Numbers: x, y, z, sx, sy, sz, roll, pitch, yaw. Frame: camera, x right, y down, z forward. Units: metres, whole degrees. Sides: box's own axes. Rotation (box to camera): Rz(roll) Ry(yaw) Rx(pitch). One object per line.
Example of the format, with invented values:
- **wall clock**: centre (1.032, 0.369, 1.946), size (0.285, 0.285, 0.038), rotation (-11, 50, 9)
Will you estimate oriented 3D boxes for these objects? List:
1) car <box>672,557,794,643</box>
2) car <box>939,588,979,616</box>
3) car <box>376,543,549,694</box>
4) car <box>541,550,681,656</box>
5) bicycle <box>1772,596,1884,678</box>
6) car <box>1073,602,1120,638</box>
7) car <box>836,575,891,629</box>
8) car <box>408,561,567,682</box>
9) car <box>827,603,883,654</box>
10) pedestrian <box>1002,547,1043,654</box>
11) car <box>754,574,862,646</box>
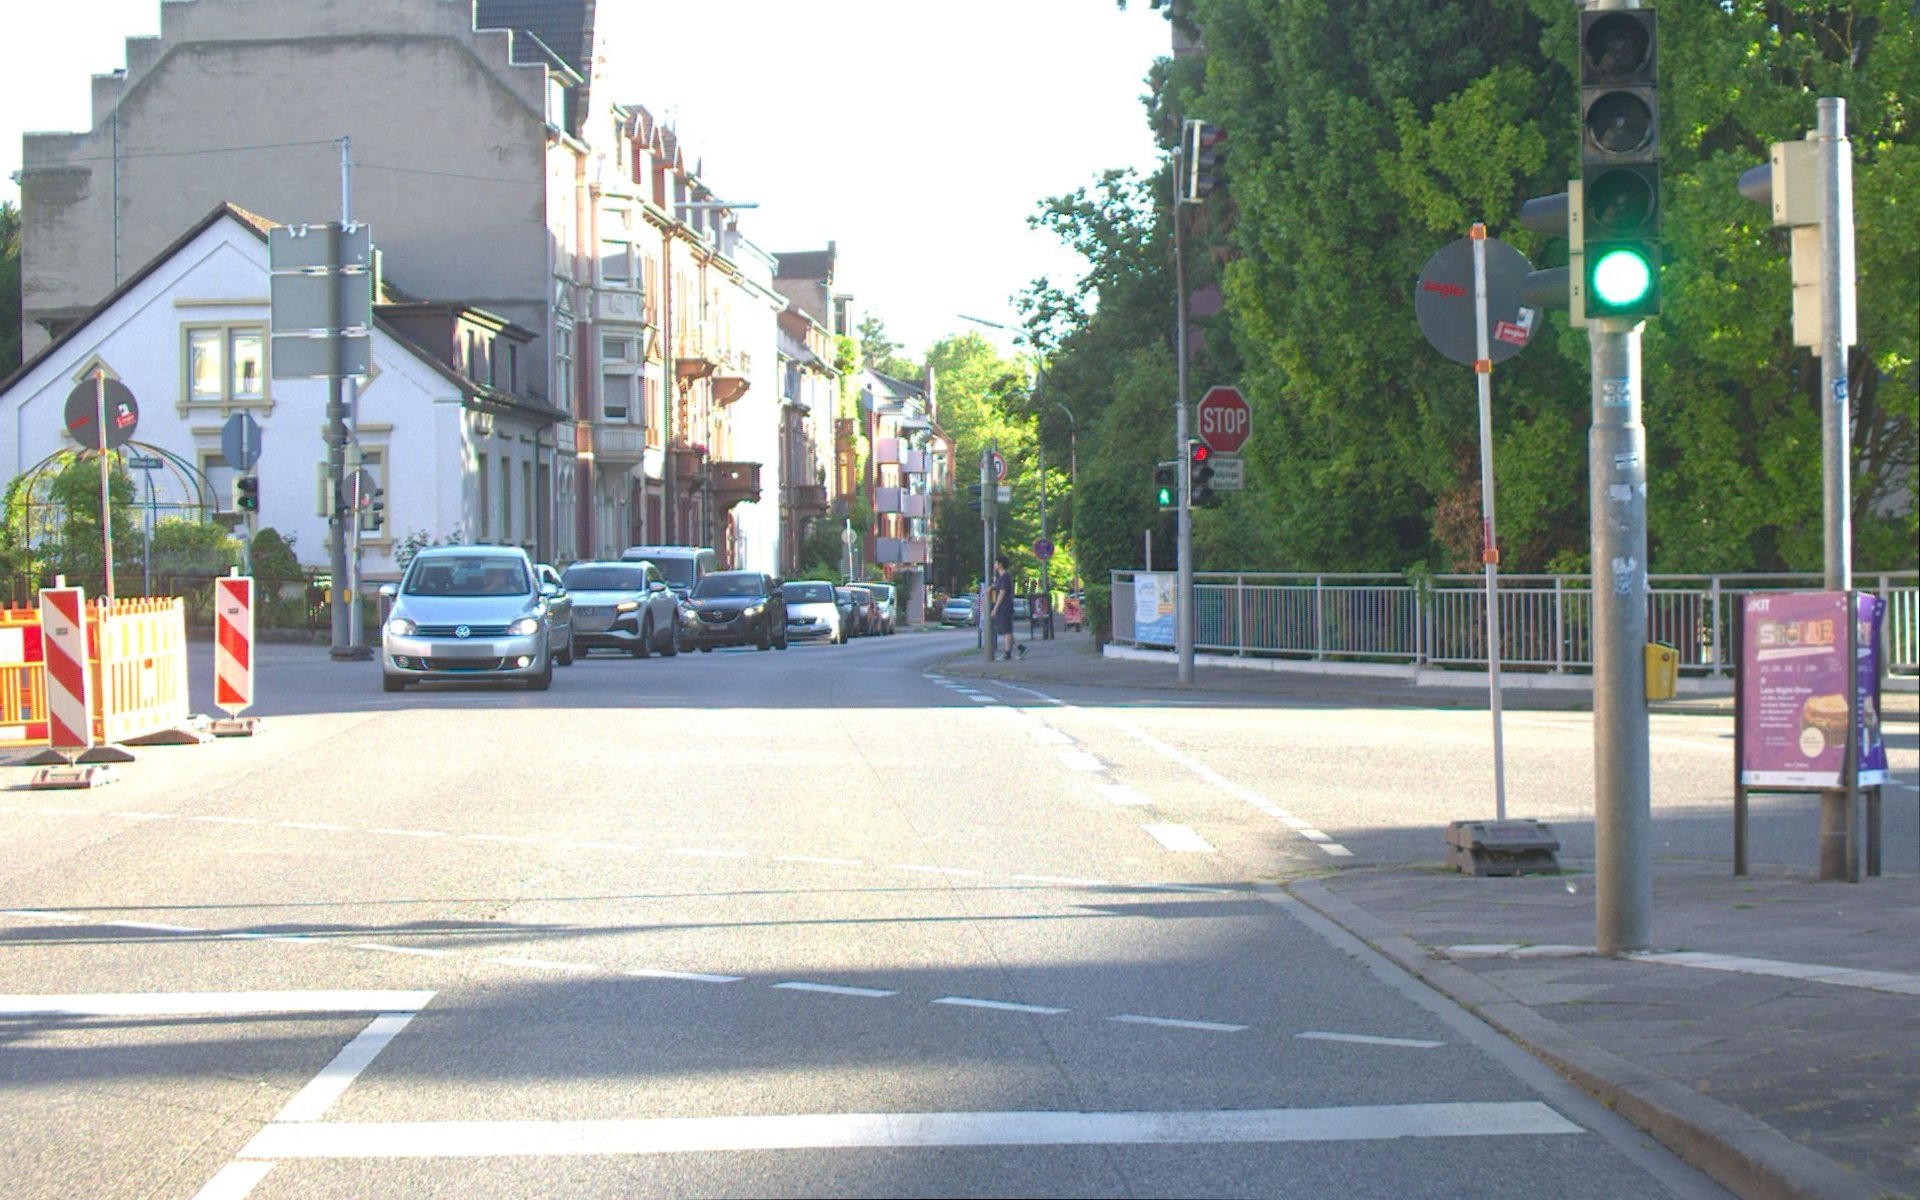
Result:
- **car**: centre (-4.623, -0.033, 70.613), size (1.953, 1.643, 4.283), rotation (1, 1, 4)
- **car**: centre (-0.044, 0.106, 193.633), size (1.994, 1.486, 4.470), rotation (-1, 1, 3)
- **car**: centre (-5.492, 0.166, 37.860), size (1.775, 1.537, 4.001), rotation (0, 1, -9)
- **car**: centre (-5.772, 0.007, 57.306), size (1.775, 1.643, 4.534), rotation (1, 1, 1)
- **bicycle**: centre (9.785, 0.412, 38.741), size (1.284, 0.900, 0.410), rotation (0, 1, -30)
- **car**: centre (6.394, 0.932, 160.618), size (1.994, 1.512, 4.000), rotation (-1, 1, 5)
- **car**: centre (-3.698, 0.060, 132.580), size (1.793, 2.003, 4.697), rotation (1, 0, 2)
- **car**: centre (-6.262, 0.250, 45.939), size (1.775, 1.475, 4.097), rotation (1, 1, -3)
- **car**: centre (-3.694, 0.993, 121.414), size (1.702, 1.732, 3.857), rotation (1, 0, 2)
- **pedestrian**: centre (0.992, 0.006, 54.726), size (0.602, 1.687, 0.612), rotation (-1, 1, 2)
- **car**: centre (-3.706, 0.217, 84.347), size (1.954, 1.643, 4.282), rotation (1, 1, 7)
